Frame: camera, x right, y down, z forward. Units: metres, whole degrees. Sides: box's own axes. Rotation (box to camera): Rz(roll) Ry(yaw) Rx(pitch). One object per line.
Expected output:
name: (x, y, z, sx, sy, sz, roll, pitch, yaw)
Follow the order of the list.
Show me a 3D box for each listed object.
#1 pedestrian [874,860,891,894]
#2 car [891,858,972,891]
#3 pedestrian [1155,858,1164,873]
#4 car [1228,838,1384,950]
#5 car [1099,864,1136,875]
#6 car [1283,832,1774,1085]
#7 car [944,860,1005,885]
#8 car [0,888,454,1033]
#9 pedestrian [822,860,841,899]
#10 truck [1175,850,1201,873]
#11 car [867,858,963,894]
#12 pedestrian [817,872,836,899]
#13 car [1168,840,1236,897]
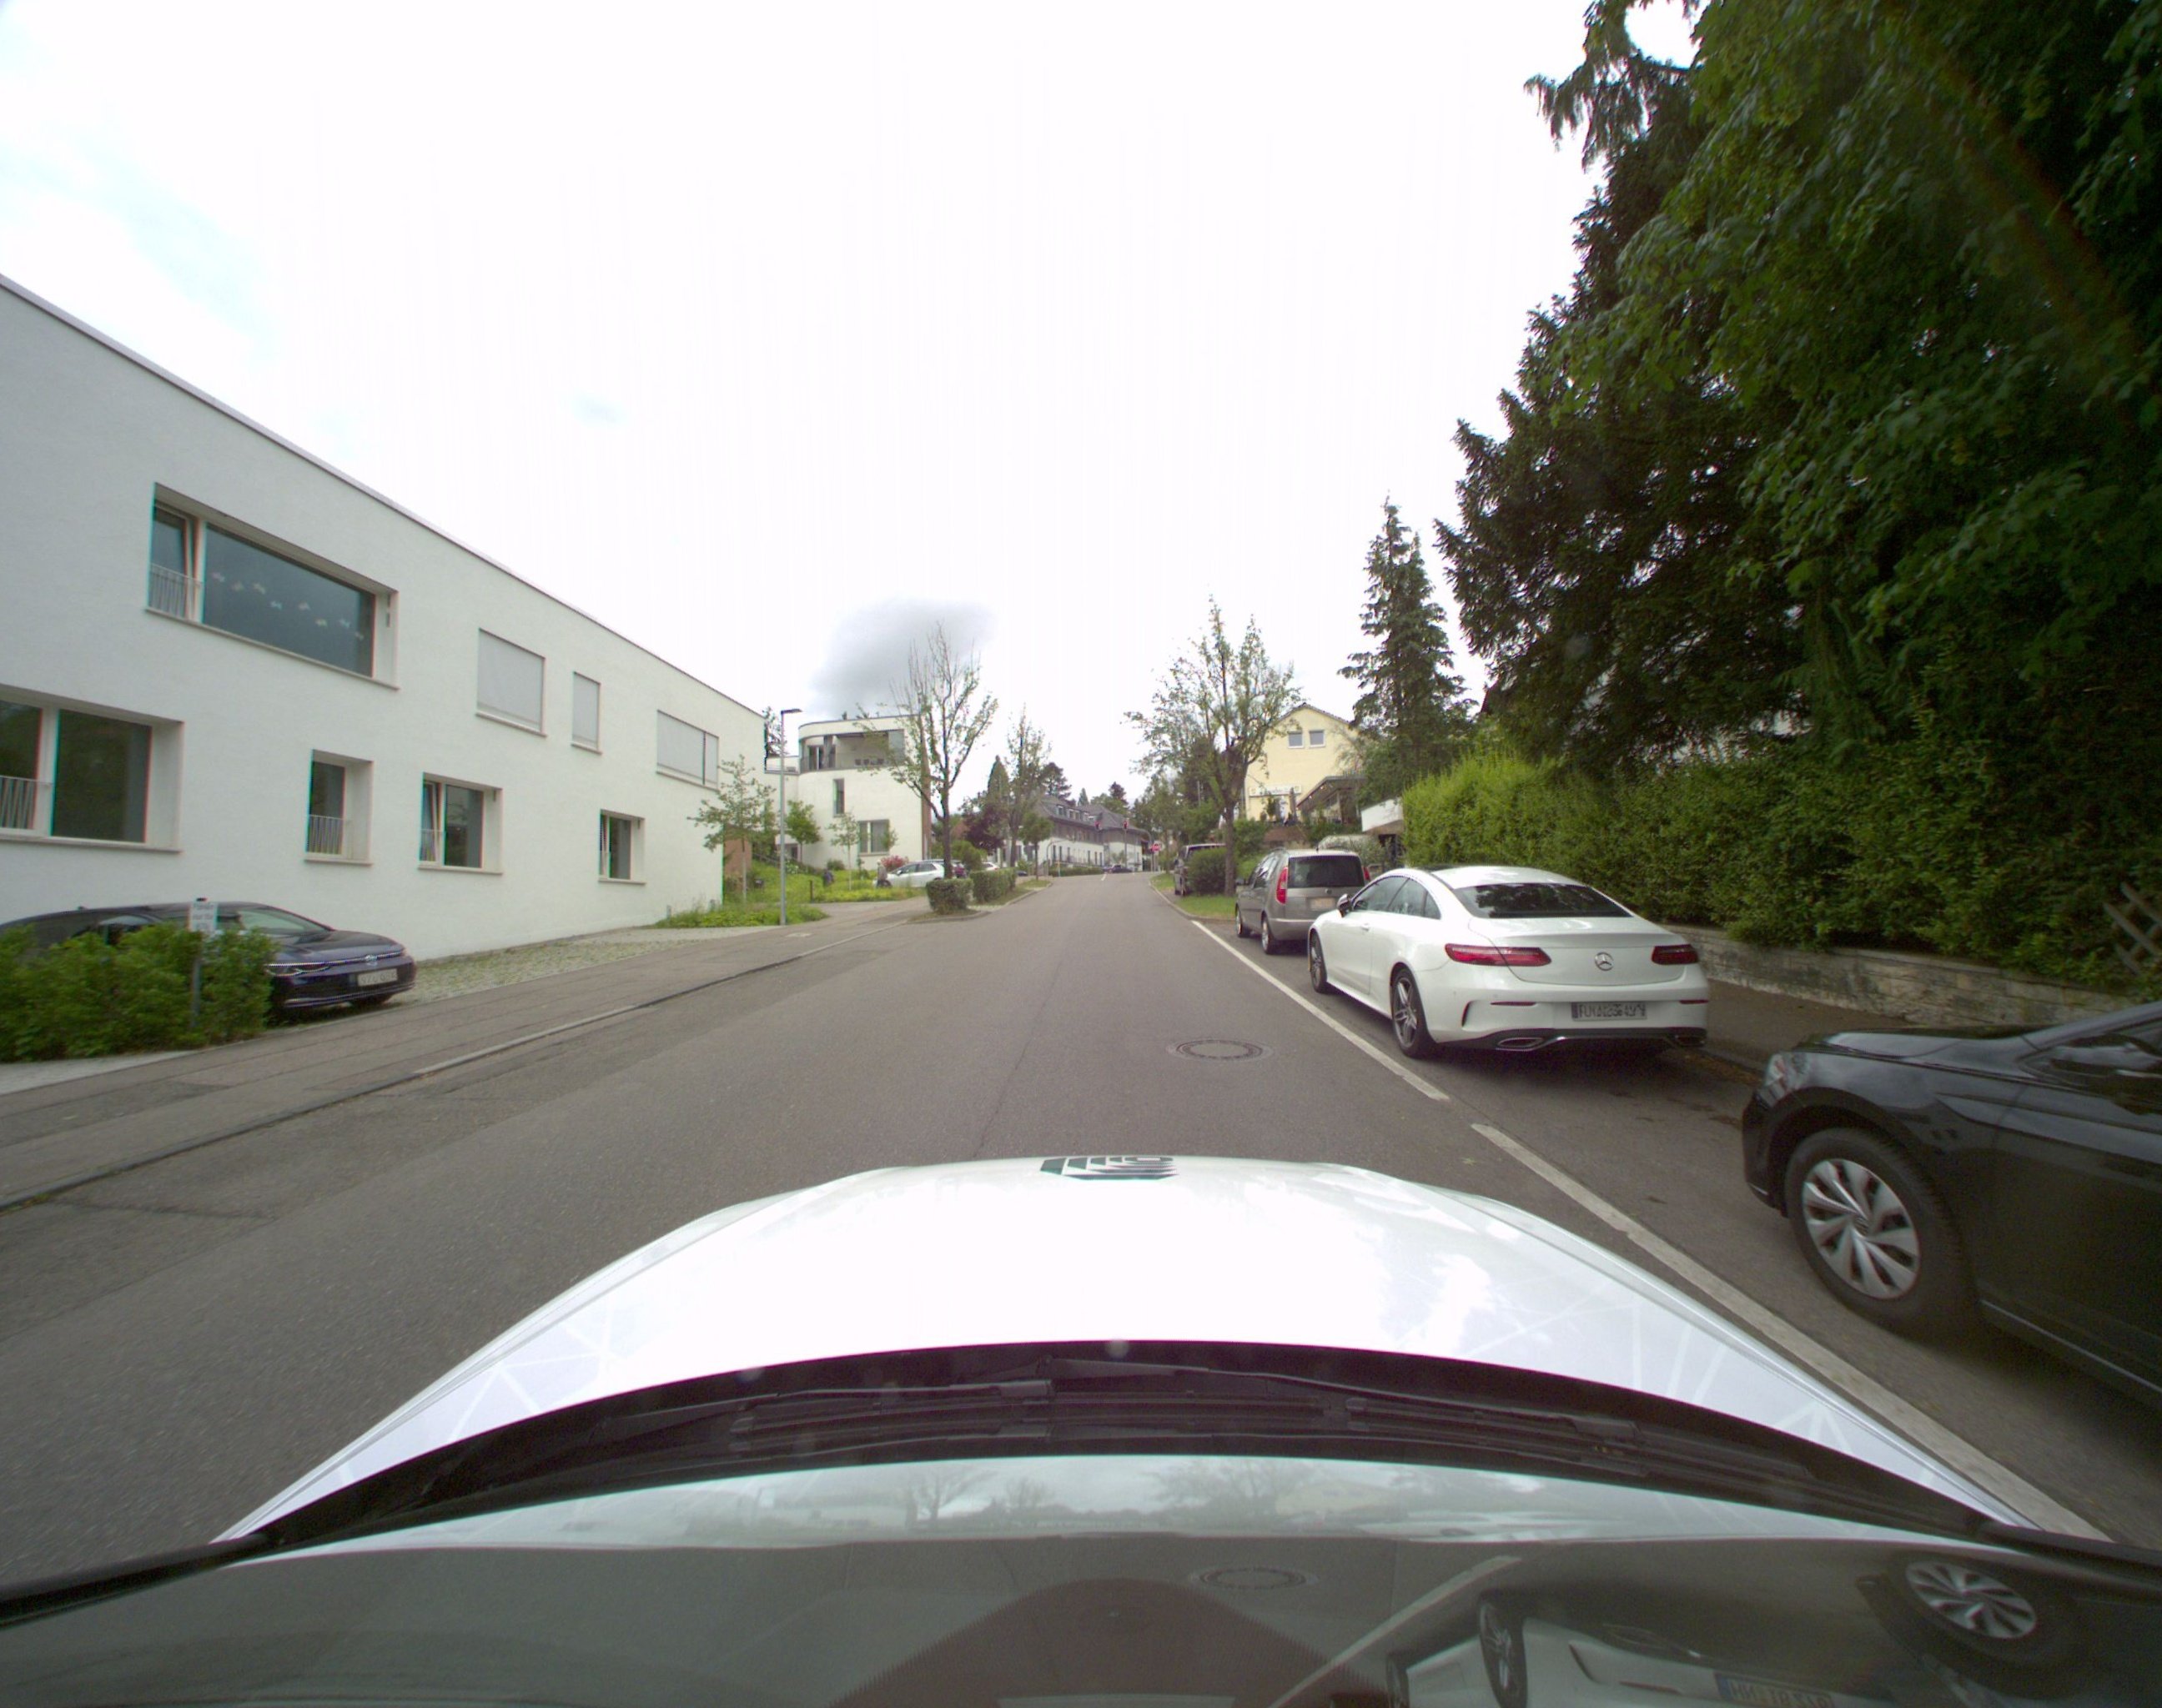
pedestrian: (-9.632, 1.103, 39.548, 0.591, 1.640, 0.566, -3, -1, 3)
car: (-8.127, 1.122, 44.489, 3.970, 1.653, 2.010, -2, -1, 3)
pedestrian: (8.918, 1.331, 92.681, 0.677, 1.682, 0.704, -3, -1, 43)
car: (3.639, 0.601, 13.865, 1.710, 1.632, 3.931, -1, 0, 2)
car: (4.389, 1.852, 97.897, 4.014, 1.287, 1.980, 0, 0, -32)
car: (3.420, 0.665, 7.617, 1.985, 1.491, 5.008, -3, 0, 3)
car: (-7.909, 1.376, 60.691, 4.247, 1.623, 2.013, -3, -2, -1)
car: (-10.077, 1.183, 9.669, 3.786, 1.354, 1.739, -2, -1, -4)
pedestrian: (-11.012, 1.129, 35.999, 0.586, 1.682, 0.520, -2, -1, 3)
truck: (11.574, 0.874, 88.740, 2.175, 2.195, 5.882, -2, -3, 2)
car: (-8.473, 1.112, 41.853, 4.372, 1.566, 2.066, -3, 0, 0)
pedestrian: (-12.307, 1.529, 39.453, 0.604, 1.283, 0.900, -1, -1, 2)
car: (4.377, 0.512, 30.225, 1.928, 1.838, 5.222, -2, 0, 2)
